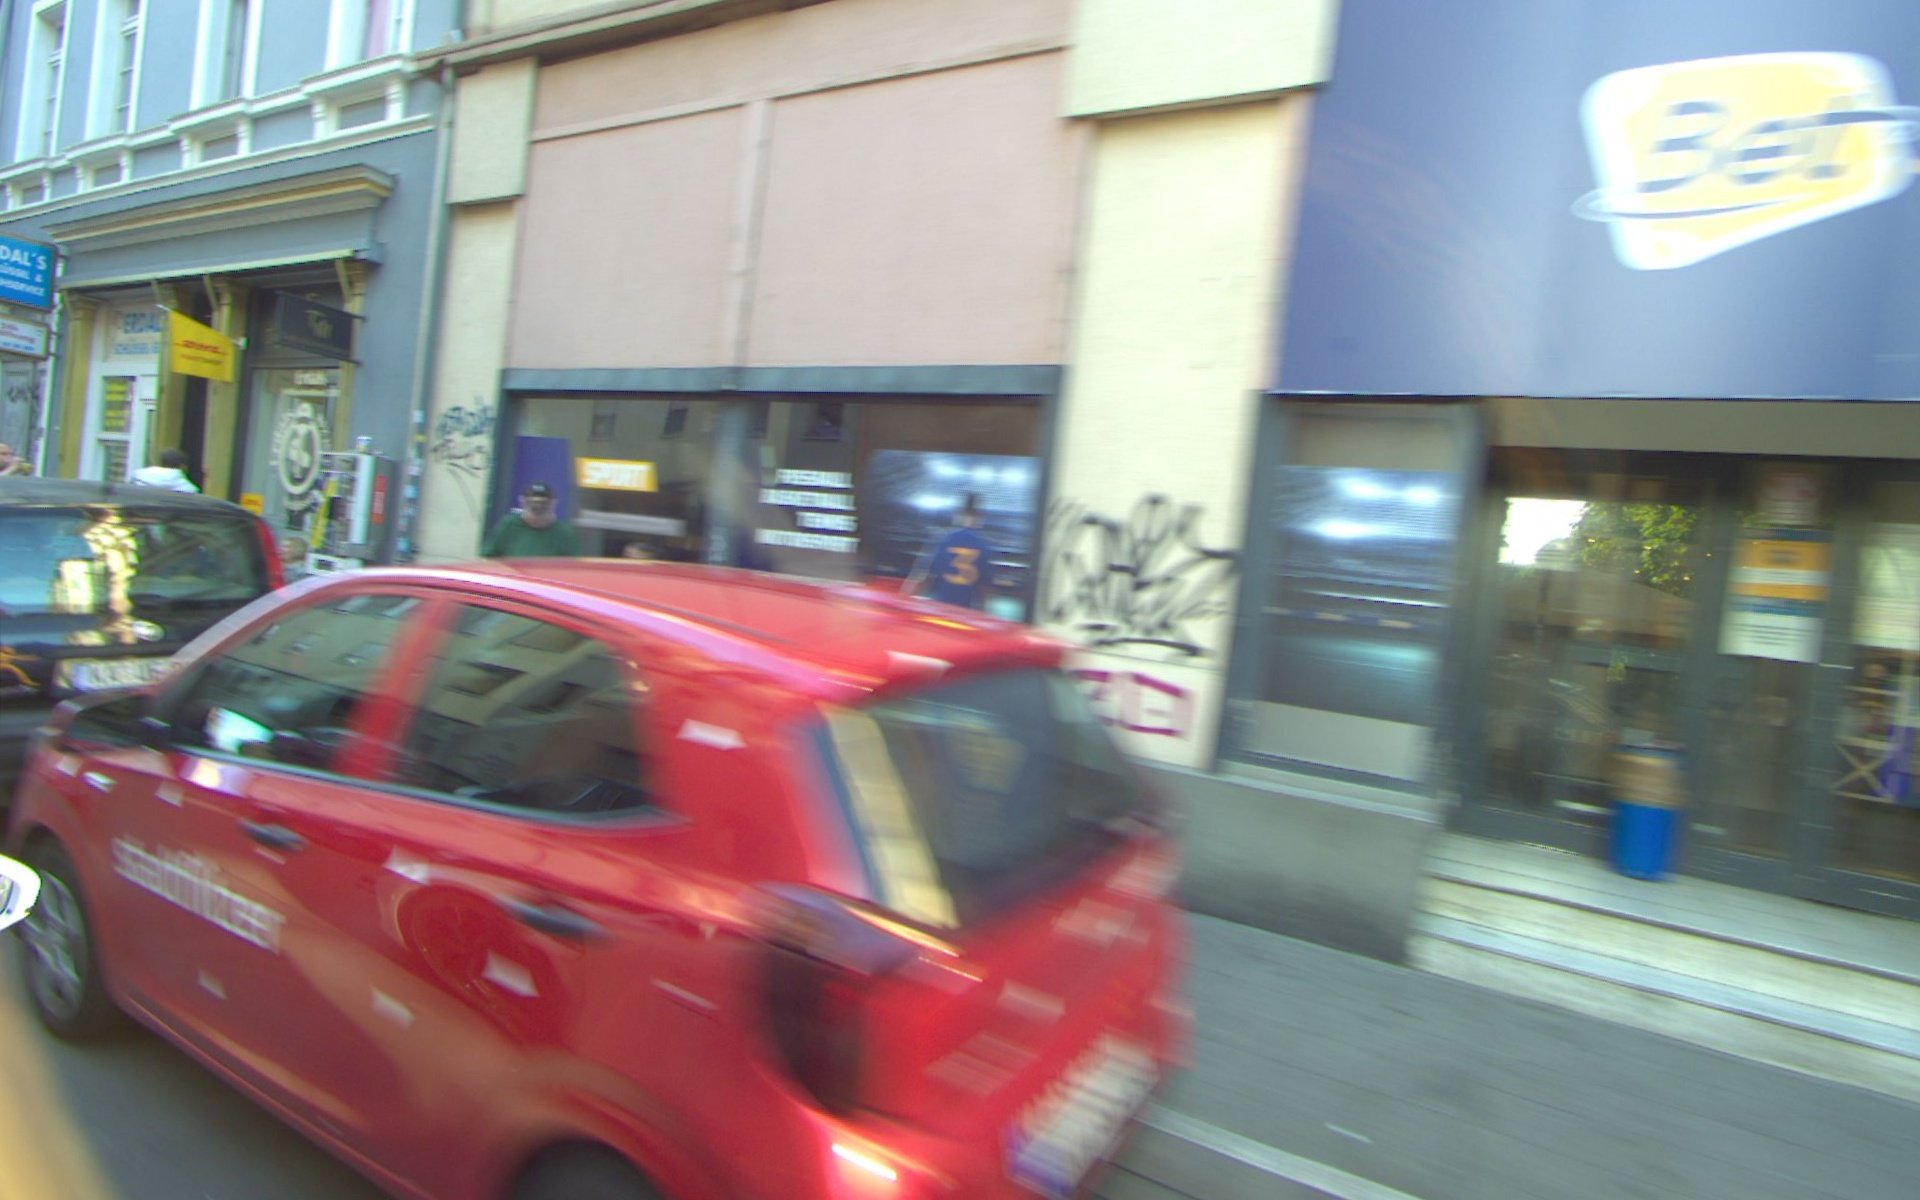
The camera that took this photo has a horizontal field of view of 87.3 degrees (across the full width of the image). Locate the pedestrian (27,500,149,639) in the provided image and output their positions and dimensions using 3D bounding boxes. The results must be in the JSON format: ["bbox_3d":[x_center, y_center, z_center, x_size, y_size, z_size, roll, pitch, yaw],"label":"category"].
[{"bbox_3d":[-8.845,-0.304,10.216,0.643,1.292,0.676,7,0,31],"label":"pedestrian"}]

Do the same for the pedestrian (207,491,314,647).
[{"bbox_3d":[-5.969,-0.256,8.612,0.524,1.237,0.512,7,0,-21],"label":"pedestrian"}]

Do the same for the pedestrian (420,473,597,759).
[{"bbox_3d":[-3.001,0.107,6.726,0.646,1.761,0.631,7,0,17],"label":"pedestrian"}]

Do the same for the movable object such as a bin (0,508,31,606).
[{"bbox_3d":[-11.500,-0.539,11.728,0.673,1.105,0.726,7,1,27],"label":"movable object such as a bin"}]

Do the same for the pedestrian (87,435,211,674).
[{"bbox_3d":[-6.316,-0.340,7.857,0.557,1.761,0.424,7,0,-34],"label":"pedestrian"}]

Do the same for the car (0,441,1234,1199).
[{"bbox_3d":[-1.243,0.538,2.885,3.493,1.591,1.610,7,-1,30],"label":"car"}]

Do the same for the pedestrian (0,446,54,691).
[{"bbox_3d":[-7.054,-0.247,7.270,0.643,1.725,0.442,7,0,30],"label":"pedestrian"}]

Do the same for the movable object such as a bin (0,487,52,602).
[{"bbox_3d":[-10.924,-0.651,11.379,0.570,1.259,0.763,7,2,27],"label":"movable object such as a bin"}]

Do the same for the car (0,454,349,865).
[{"bbox_3d":[-4.792,0.090,5.090,3.259,1.578,1.569,6,3,32],"label":"car"}]

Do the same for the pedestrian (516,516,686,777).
[{"bbox_3d":[-2.310,0.293,6.506,0.647,1.548,0.589,7,0,24],"label":"pedestrian"}]
